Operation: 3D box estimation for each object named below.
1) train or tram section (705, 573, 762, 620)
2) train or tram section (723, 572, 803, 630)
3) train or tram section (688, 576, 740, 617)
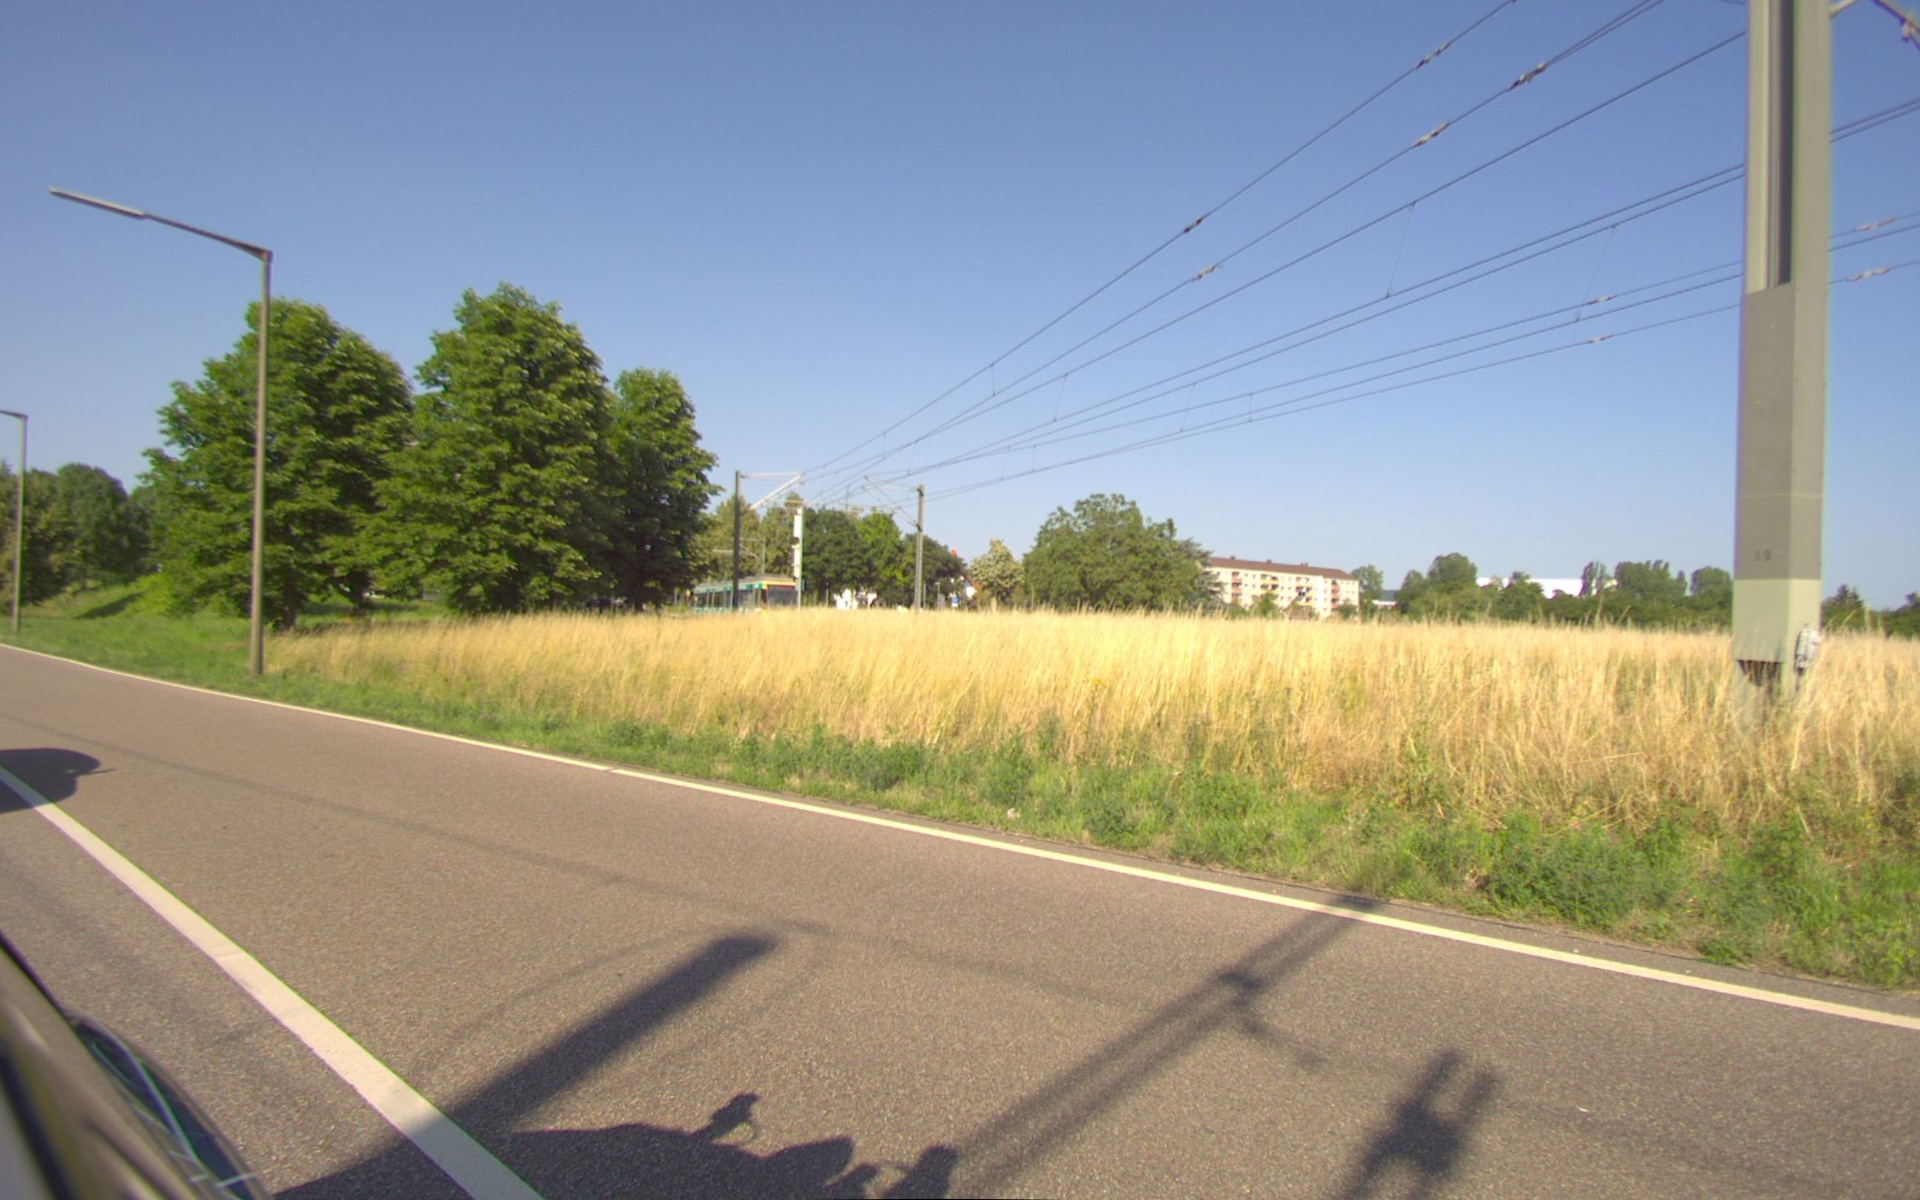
[{"bbox_3d":[-18.439,-0.301,81.816,2.876,3.480,12.205,0,1,-20],"label":"train or tram section"},{"bbox_3d":[-13.729,-0.108,69.388,2.865,3.595,14.309,0,1,-21],"label":"train or tram section"},{"bbox_3d":[-22.776,-0.277,93.213,2.908,3.511,12.205,0,0,-22],"label":"train or tram section"}]
